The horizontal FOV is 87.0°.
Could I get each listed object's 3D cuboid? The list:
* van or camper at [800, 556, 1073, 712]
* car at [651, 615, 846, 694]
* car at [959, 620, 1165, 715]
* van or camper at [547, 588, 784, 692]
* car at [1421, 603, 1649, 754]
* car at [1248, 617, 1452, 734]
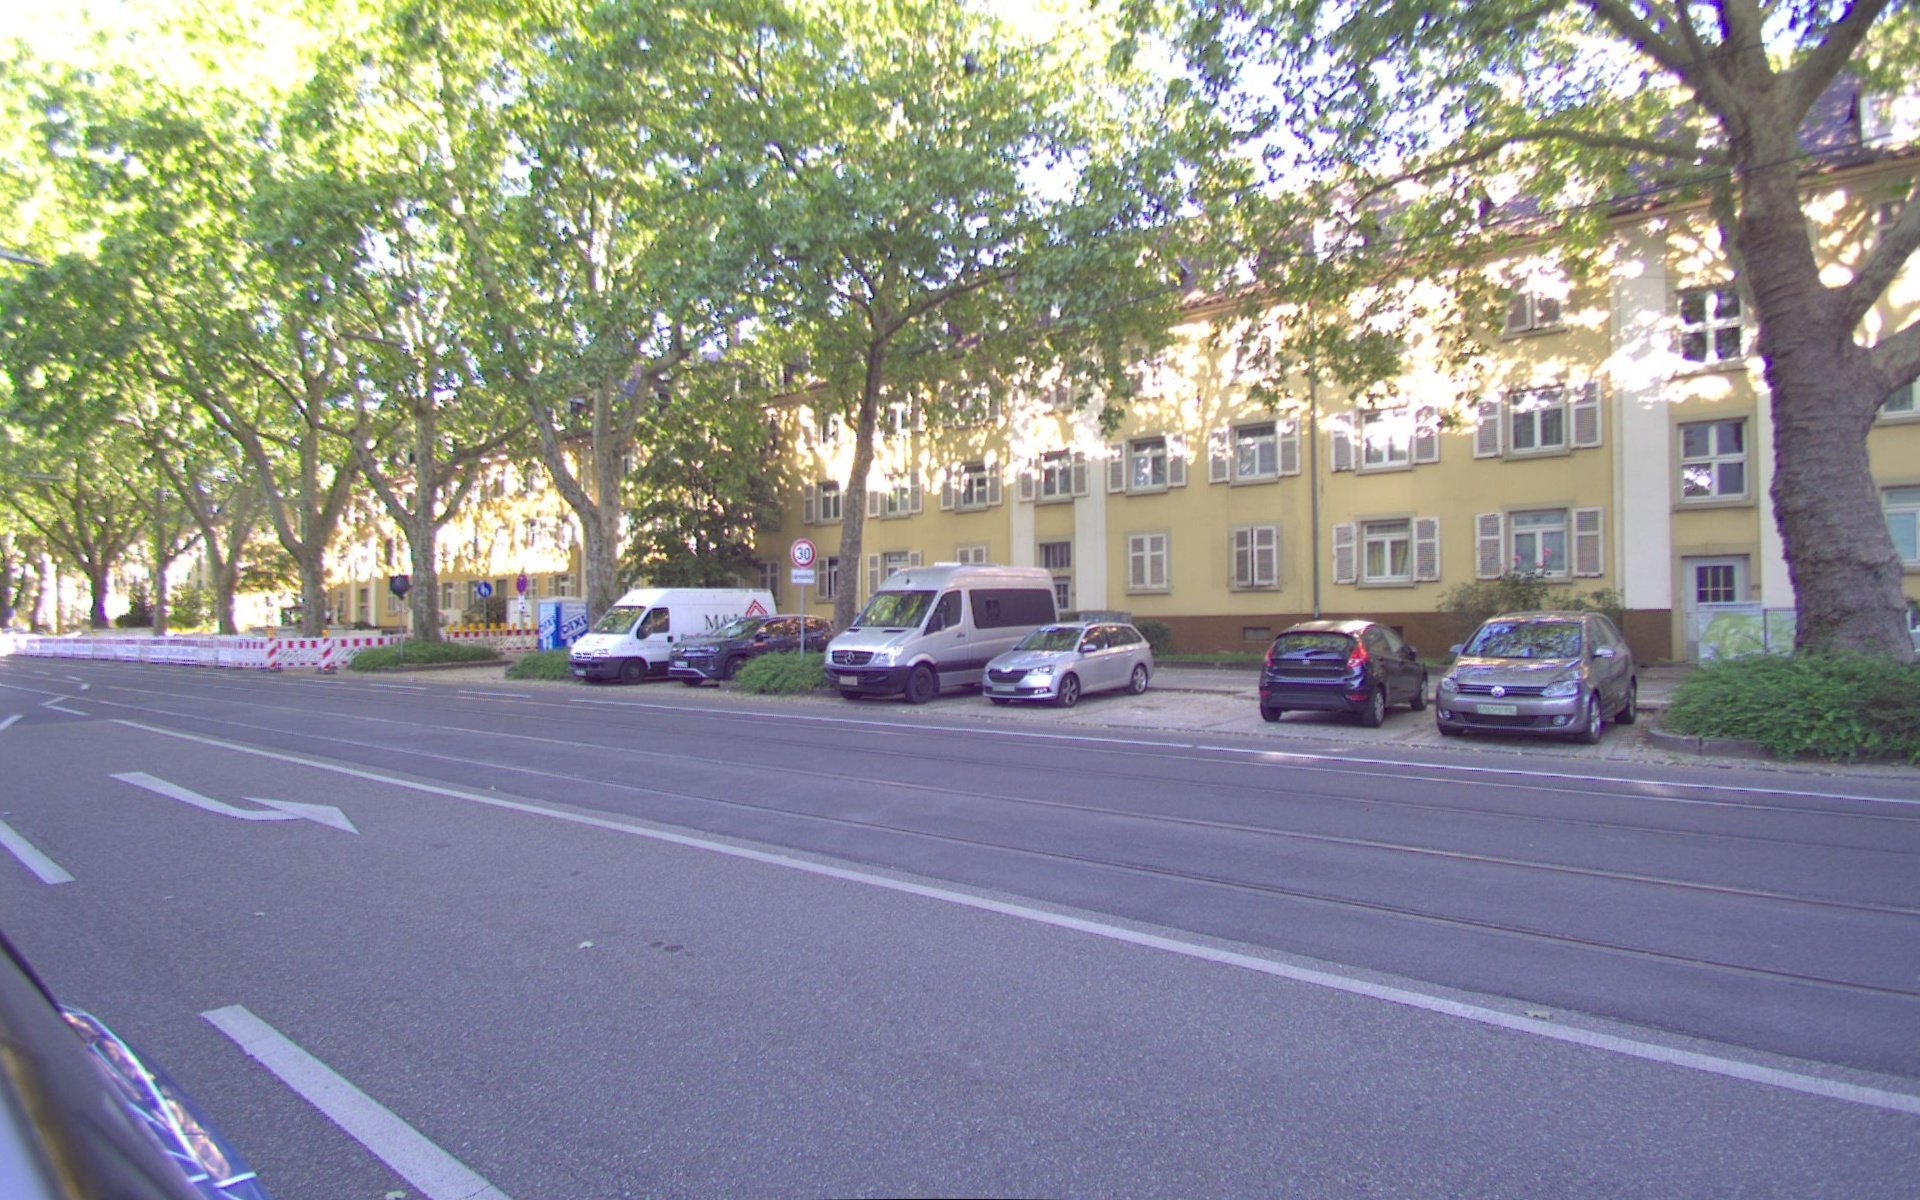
[{"bbox_3d":[-0.268,0.567,20.337,2.154,2.668,5.857,-1,0,40],"label":"van or camper"},{"bbox_3d":[-4.972,1.223,24.333,1.693,1.645,4.481,-1,0,41],"label":"car"},{"bbox_3d":[2.002,1.143,18.779,1.693,1.457,4.221,-1,0,41],"label":"car"},{"bbox_3d":[-7.487,0.920,26.346,2.154,2.403,5.690,-1,0,40],"label":"van or camper"},{"bbox_3d":[7.670,0.882,13.321,1.844,1.631,4.028,-1,0,41],"label":"car"},{"bbox_3d":[6.015,1.031,15.381,1.693,1.457,3.811,-1,0,41],"label":"car"}]
